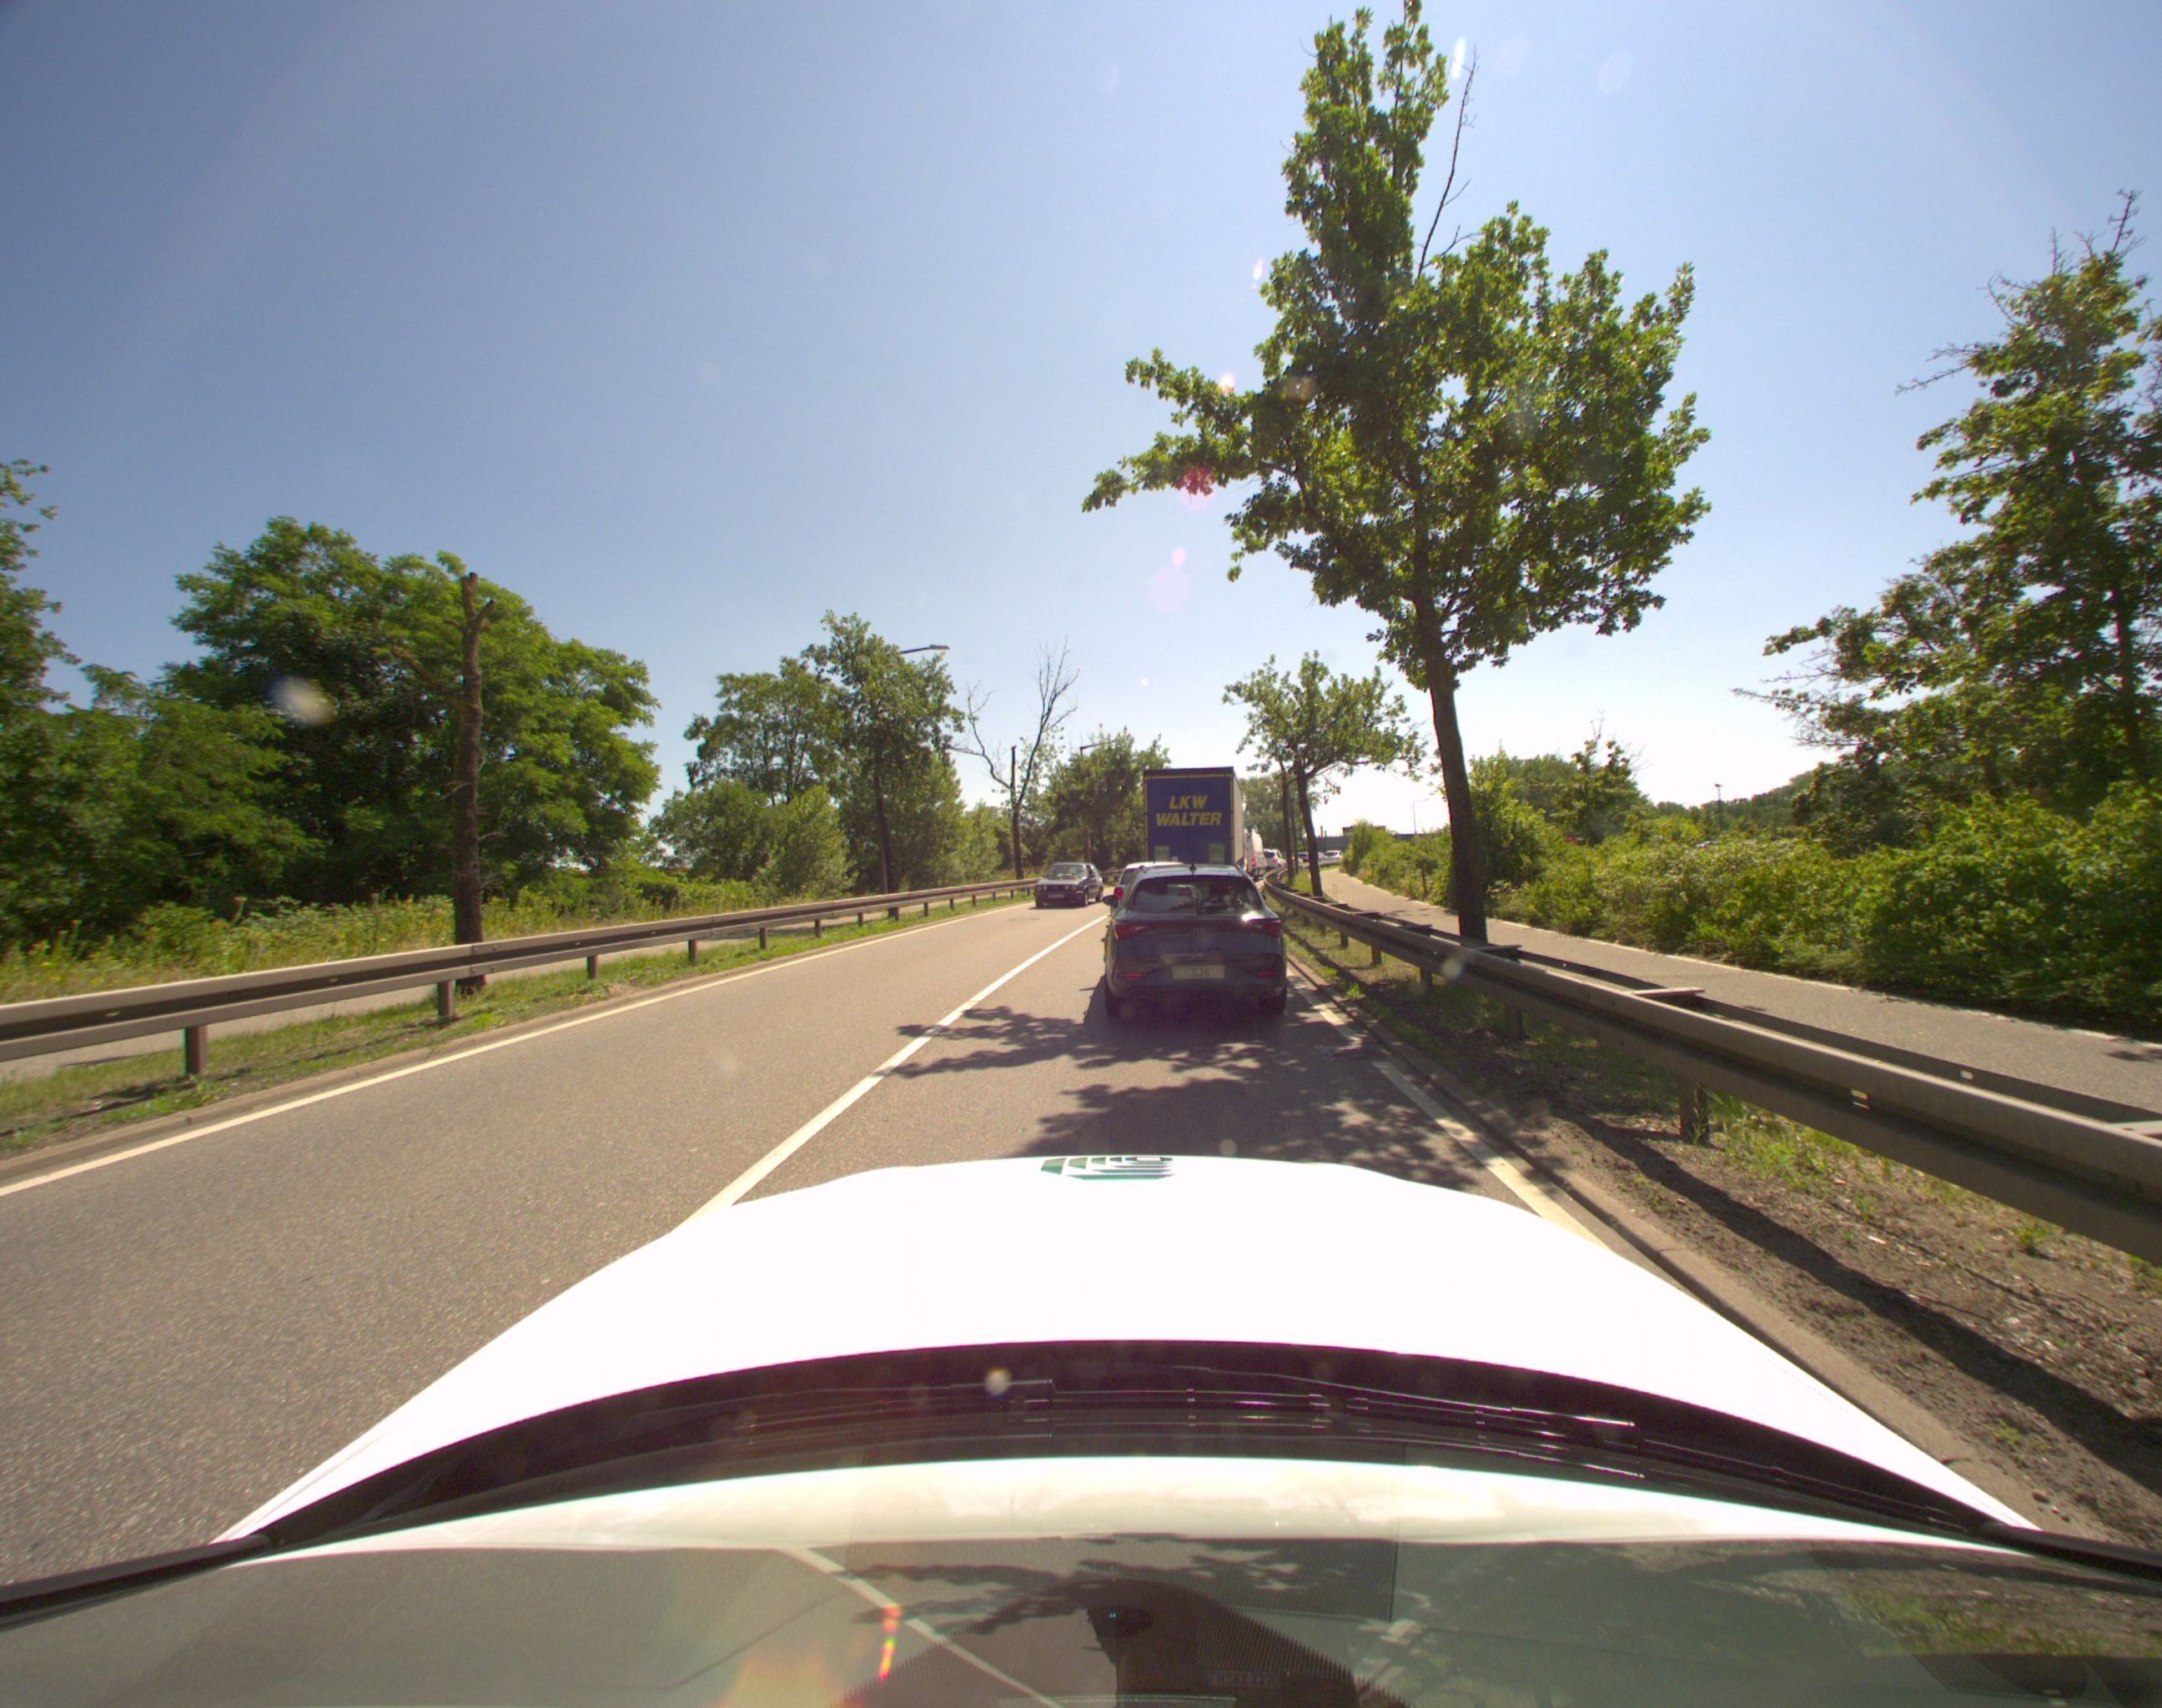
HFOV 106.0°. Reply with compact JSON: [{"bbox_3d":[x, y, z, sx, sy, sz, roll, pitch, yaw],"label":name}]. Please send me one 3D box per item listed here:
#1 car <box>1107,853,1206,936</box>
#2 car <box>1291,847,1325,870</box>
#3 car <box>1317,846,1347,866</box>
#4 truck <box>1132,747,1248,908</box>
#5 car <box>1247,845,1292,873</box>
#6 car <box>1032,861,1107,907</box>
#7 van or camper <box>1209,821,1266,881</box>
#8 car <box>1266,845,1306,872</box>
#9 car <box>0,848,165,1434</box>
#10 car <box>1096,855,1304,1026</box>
[{"bbox_3d":[1.535,0.767,17.126,1.801,1.508,4.004,-1,0,4],"label":"car"},{"bbox_3d":[18.370,0.348,65.648,1.976,1.717,4.895,-1,0,23],"label":"car"},{"bbox_3d":[23.278,0.193,75.345,1.975,1.768,4.782,-1,0,25],"label":"car"},{"bbox_3d":[4.729,-0.697,31.032,2.930,4.449,16.854,-1,0,12],"label":"truck"},{"bbox_3d":[12.167,0.303,52.337,1.976,1.712,4.645,-1,0,23],"label":"car"},{"bbox_3d":[-0.308,0.926,26.699,1.546,1.372,3.902,-1,0,13],"label":"car"},{"bbox_3d":[8.644,-0.126,44.453,2.447,2.998,6.112,-1,0,16],"label":"van or camper"},{"bbox_3d":[14.758,0.305,58.515,1.976,1.808,4.872,-1,0,23],"label":"car"},{"bbox_3d":[-3.840,0.766,0.512,1.742,1.555,4.130,-1,0,3],"label":"car"},{"bbox_3d":[1.069,0.745,8.849,1.737,1.432,3.881,-1,0,2],"label":"car"}]
